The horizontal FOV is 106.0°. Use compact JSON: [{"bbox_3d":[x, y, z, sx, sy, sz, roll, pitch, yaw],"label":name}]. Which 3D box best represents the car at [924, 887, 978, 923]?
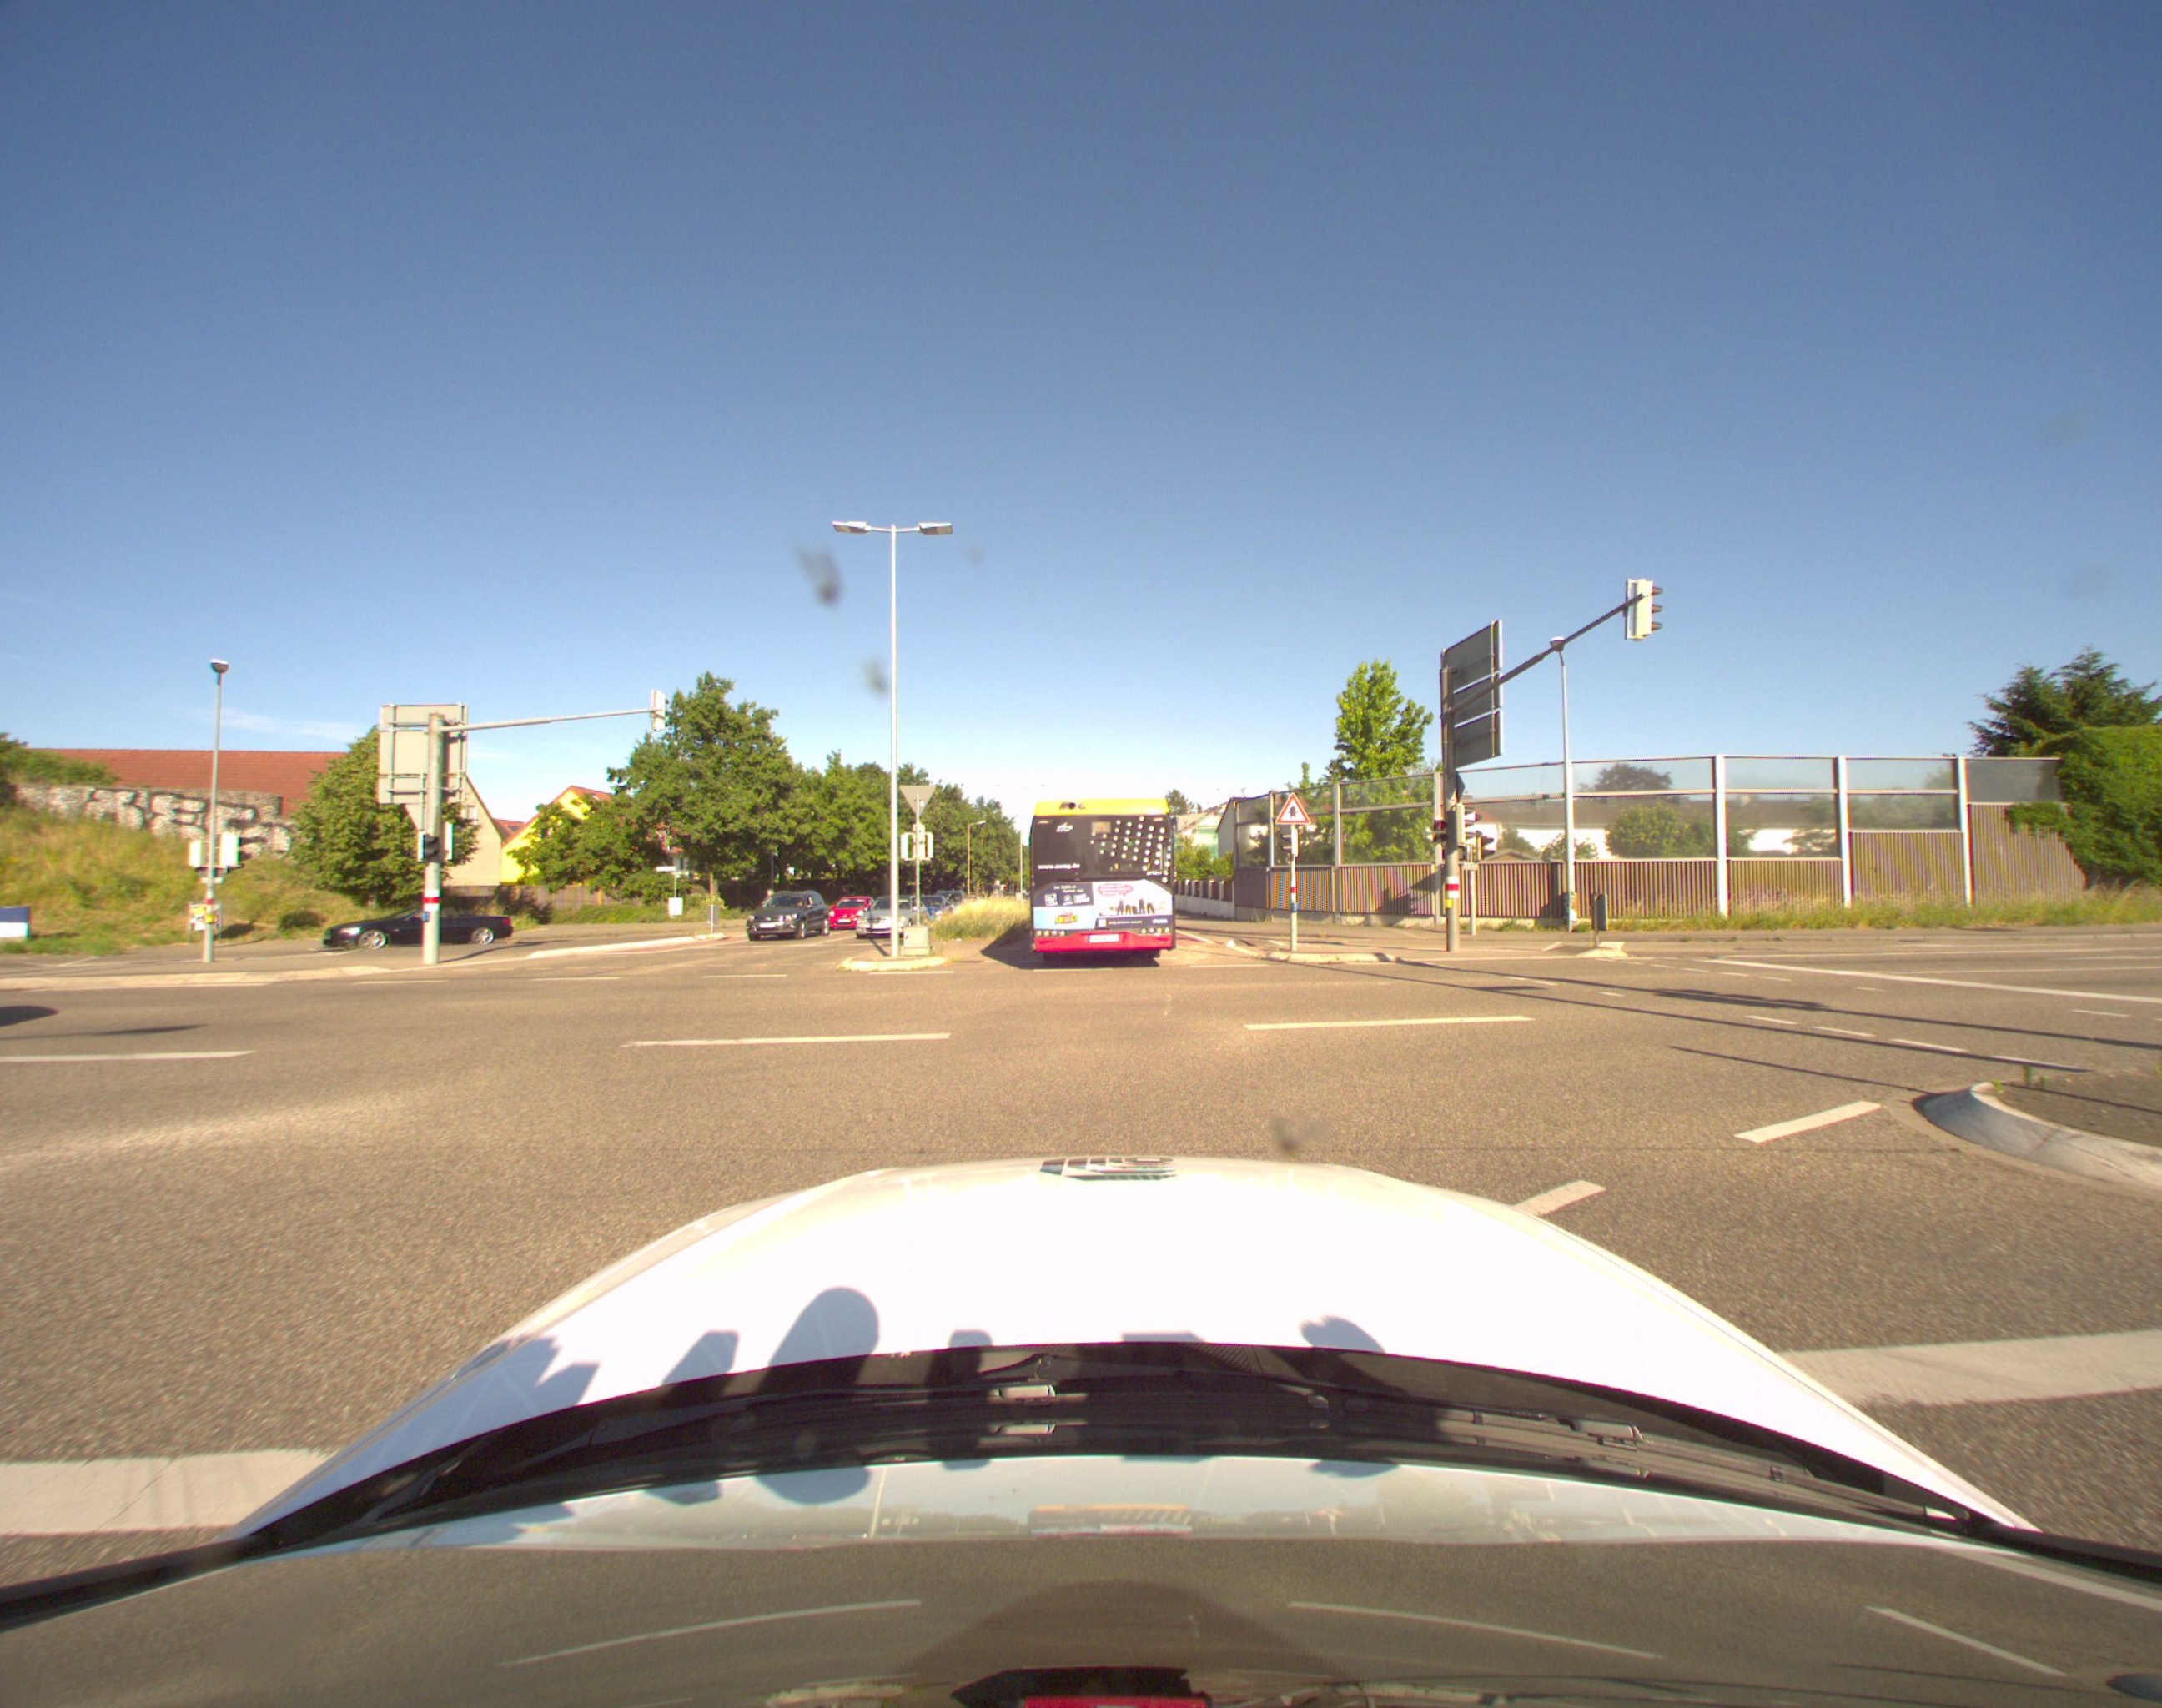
[{"bbox_3d":[-6.333,2.451,40.136,1.987,1.616,4.528,-1,-2,-1],"label":"car"}]

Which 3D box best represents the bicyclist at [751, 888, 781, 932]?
[{"bbox_3d":[-12.623,2.213,32.649,0.742,1.702,1.241,-1,-2,-1],"label":"bicyclist"}]

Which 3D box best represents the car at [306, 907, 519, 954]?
[{"bbox_3d":[-20.778,2.344,25.568,2.021,1.310,4.711,-3,-4,30],"label":"car"}]

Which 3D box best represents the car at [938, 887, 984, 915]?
[{"bbox_3d":[-6.697,2.601,45.848,1.987,1.451,4.397,-1,-3,-1],"label":"car"}]

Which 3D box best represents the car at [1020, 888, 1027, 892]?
[{"bbox_3d":[-17.810,11.179,252.112,1.932,1.454,3.989,0,-3,-8],"label":"car"}]

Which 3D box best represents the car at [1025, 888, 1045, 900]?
[{"bbox_3d":[-5.555,4.819,98.773,1.700,1.431,4.008,-2,-2,8],"label":"car"}]

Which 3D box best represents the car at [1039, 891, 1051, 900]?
[{"bbox_3d":[-6.963,7.932,157.347,1.931,1.743,3.990,0,-3,-6],"label":"car"}]

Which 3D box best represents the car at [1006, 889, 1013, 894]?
[{"bbox_3d":[-21.991,11.601,251.026,1.932,1.454,3.989,0,-3,-8],"label":"car"}]

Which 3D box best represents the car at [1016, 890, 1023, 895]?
[{"bbox_3d":[-17.138,10.688,225.973,1.931,1.542,3.990,0,-3,-6],"label":"car"}]

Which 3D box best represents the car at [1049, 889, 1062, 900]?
[{"bbox_3d":[-4.227,6.716,135.715,1.933,1.704,3.990,0,-3,-6],"label":"car"}]

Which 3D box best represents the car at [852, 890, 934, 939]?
[{"bbox_3d":[-6.466,2.057,28.509,1.787,1.506,4.529,-1,-2,0],"label":"car"}]

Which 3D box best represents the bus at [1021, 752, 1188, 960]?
[{"bbox_3d":[0.485,0.348,20.003,2.748,3.459,12.395,-1,-3,1],"label":"bus"}]

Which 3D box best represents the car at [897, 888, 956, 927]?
[{"bbox_3d":[-6.534,2.242,34.746,1.741,1.483,3.887,-1,-2,0],"label":"car"}]

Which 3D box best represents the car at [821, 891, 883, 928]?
[{"bbox_3d":[-10.024,2.410,35.863,1.640,1.483,3.712,-1,-2,0],"label":"car"}]

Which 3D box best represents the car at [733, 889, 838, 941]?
[{"bbox_3d":[-10.264,2.075,28.692,1.987,1.644,4.529,-1,-2,0],"label":"car"}]
